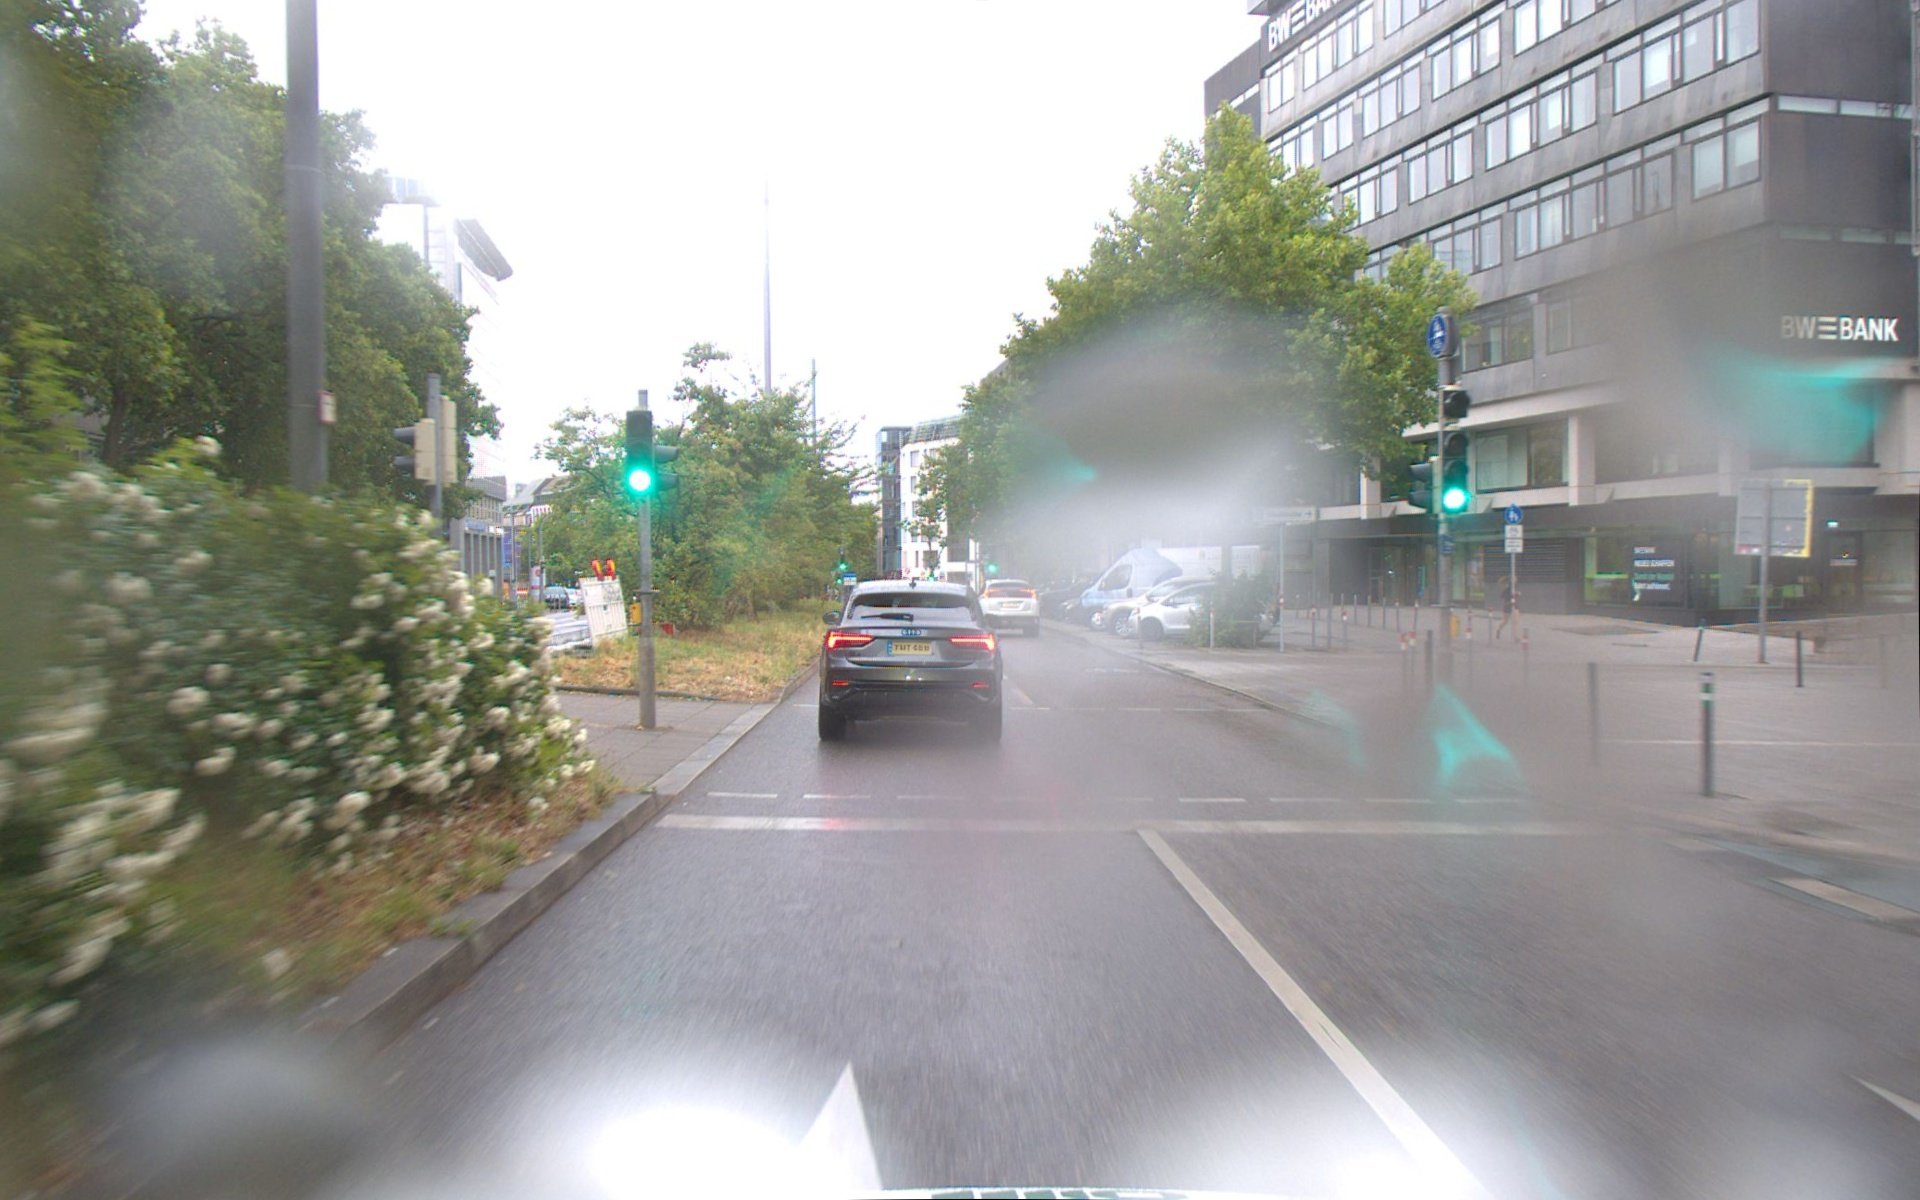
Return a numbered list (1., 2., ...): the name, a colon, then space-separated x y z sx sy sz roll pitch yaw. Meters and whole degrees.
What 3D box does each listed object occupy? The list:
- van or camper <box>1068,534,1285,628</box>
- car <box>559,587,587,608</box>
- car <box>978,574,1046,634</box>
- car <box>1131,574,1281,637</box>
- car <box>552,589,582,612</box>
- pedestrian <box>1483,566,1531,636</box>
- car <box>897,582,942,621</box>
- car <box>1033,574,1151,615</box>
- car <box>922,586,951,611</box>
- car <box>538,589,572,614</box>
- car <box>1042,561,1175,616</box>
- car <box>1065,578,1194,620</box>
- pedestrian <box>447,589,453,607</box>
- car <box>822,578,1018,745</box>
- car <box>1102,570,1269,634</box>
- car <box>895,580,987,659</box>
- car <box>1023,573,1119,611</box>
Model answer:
1. van or camper: 6.292 -0.526 48.308 5.946 2.603 2.103 0 0 26
2. car: -28.921 -0.151 123.662 1.693 1.476 3.586 -2 0 -8
3. car: 1.494 0.110 49.165 1.812 1.698 4.037 0 0 -1
4. car: 6.303 0.119 42.342 3.572 1.574 1.716 0 0 18
5. car: -28.035 0.060 118.104 1.776 1.575 3.991 -2 0 -9
6. pedestrian: 13.843 0.019 41.848 0.789 1.726 1.187 0 0 -2
7. car: -1.669 0.036 68.180 1.812 1.550 4.037 0 0 -1
8. car: 5.441 -0.223 68.058 4.461 1.533 1.869 -1 0 23
9. car: -1.501 -0.079 104.873 1.812 1.550 4.037 0 0 -1
10. car: -27.004 0.107 110.471 1.840 1.562 4.068 -2 0 -9
11. car: 5.842 -0.450 65.097 4.838 2.013 1.929 -1 0 24
12. car: 6.061 -0.026 59.259 4.277 1.461 1.761 0 0 25
13. pedestrian: -39.711 -0.175 128.823 0.384 1.420 0.407 0 0 -4
14. car: -0.439 0.559 17.360 1.812 1.550 4.037 0 0 -2
15. car: 6.138 0.030 45.006 4.172 1.696 1.817 0 0 25
16. car: -0.421 0.368 34.603 1.812 1.550 4.037 0 0 -1
17. car: 5.256 -0.382 78.400 4.134 1.698 1.838 -1 0 26
